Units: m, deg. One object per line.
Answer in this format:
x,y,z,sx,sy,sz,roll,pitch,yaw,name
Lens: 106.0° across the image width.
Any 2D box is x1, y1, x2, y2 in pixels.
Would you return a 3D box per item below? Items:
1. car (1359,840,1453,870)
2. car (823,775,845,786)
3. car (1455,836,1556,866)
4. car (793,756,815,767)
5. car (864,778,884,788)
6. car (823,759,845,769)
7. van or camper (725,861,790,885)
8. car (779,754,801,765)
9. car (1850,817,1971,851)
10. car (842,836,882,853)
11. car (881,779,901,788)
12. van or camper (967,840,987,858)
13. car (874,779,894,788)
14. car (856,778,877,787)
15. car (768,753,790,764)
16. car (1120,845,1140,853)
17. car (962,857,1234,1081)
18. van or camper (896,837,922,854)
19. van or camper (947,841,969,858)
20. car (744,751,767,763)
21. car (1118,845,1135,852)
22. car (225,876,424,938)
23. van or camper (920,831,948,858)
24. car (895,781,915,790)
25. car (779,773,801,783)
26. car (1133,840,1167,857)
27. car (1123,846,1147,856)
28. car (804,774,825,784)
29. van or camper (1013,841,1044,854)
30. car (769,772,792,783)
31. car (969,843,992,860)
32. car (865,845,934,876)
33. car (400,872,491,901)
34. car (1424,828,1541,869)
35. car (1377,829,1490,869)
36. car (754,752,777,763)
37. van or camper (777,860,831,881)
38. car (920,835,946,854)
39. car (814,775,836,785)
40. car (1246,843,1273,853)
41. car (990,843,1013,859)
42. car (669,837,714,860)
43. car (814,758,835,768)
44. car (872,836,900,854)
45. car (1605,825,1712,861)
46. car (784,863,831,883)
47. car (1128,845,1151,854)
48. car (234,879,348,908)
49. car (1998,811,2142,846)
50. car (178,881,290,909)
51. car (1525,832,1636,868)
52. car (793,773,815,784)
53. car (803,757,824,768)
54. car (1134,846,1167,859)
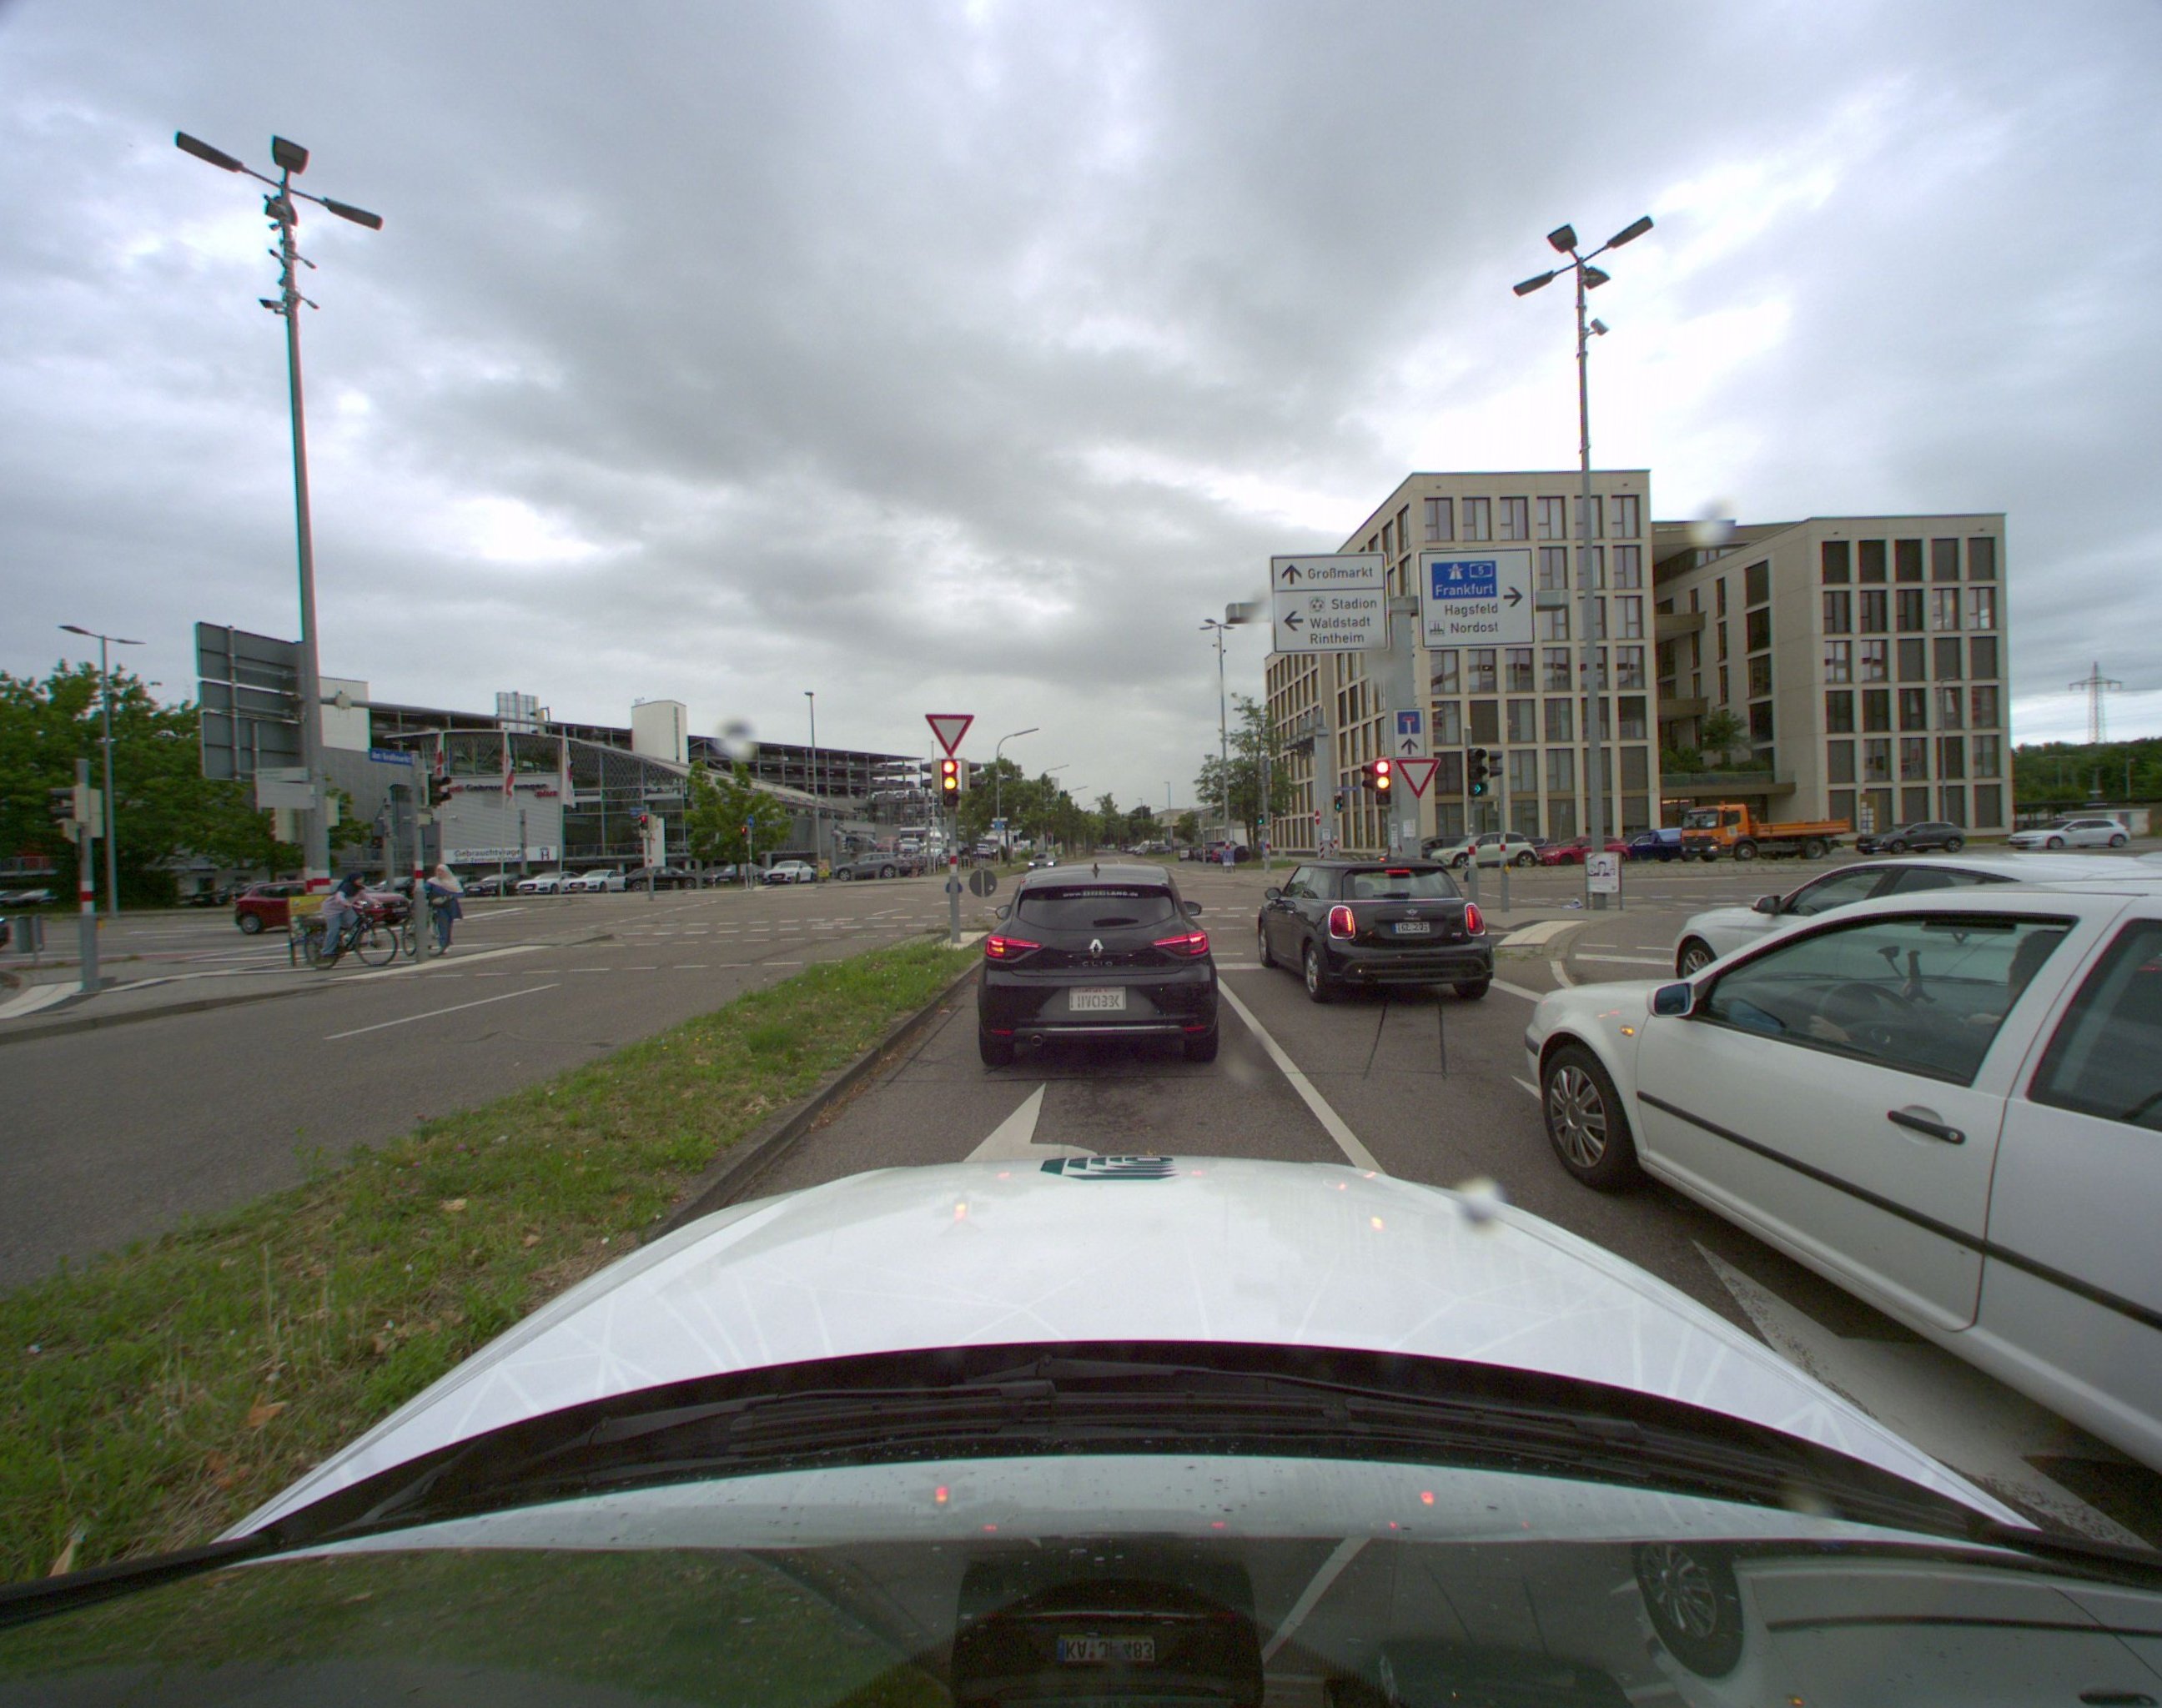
16.327,0.050,41.013,4.074,1.432,1.750,0,-1,-3,car
-49.792,-14.800,164.104,3.948,1.667,2.013,-1,0,33,car
21.383,-0.144,41.117,4.126,1.490,1.870,0,-1,-3,car
-53.854,-18.002,158.141,3.948,1.667,2.013,-1,0,33,car
-43.970,-15.096,173.262,3.948,1.667,2.013,-1,0,33,car
-49.803,-18.161,164.186,3.948,1.667,2.013,-1,0,33,car
-23.438,1.376,59.119,3.977,1.677,1.998,0,-1,-3,van or camper
-55.633,-17.988,155.540,3.948,1.667,2.013,-1,0,33,car
42.522,-0.987,41.830,4.089,1.657,2.002,0,-1,3,car
-24.502,-1.094,91.000,3.975,1.838,1.759,0,-1,-1,car
-41.434,-15.298,177.686,3.948,1.667,2.013,-1,0,33,car
-12.146,-0.522,95.346,1.988,2.014,3.997,0,-1,-2,van or camper
-42.608,-15.224,175.755,3.948,1.667,2.013,-1,0,33,car
-45.175,-15.020,171.328,3.948,1.667,2.013,-1,0,33,car
-56.980,-17.992,153.703,3.948,1.667,2.013,-1,0,33,car
13.112,-1.430,218.206,5.156,2.014,2.144,0,-1,0,car
0.169,0.761,7.275,1.750,1.434,4.001,0,-1,2,car
-17.674,-0.821,83.930,1.988,1.651,3.997,0,-1,-2,van or camper
-14.344,-0.507,95.207,1.988,2.014,3.997,0,-1,-2,van or camper
-59.714,-17.754,149.320,3.948,1.667,2.013,-1,0,33,car
12.904,-1.642,229.872,4.771,1.891,2.143,0,-1,-1,car
-22.375,1.539,24.210,4.058,1.487,1.738,-3,0,-5,car
-17.191,-1.031,95.288,2.529,3.026,4.840,0,-1,-2,van or camper
-39.160,-15.244,180.985,3.948,1.667,2.013,-1,0,33,car
-55.747,-14.557,155.836,3.948,1.667,2.013,-1,0,33,car
12.754,-1.086,151.513,6.096,3.116,2.134,0,-1,0,car
12.074,-0.646,182.137,5.156,2.014,2.144,0,-1,0,car
-52.418,-14.731,160.116,3.948,1.667,2.013,-1,0,33,car
-9.719,-1.196,150.750,5.580,2.372,2.000,0,-1,0,van or camper
-56.715,-14.432,153.776,3.948,1.667,2.013,-1,0,33,car
-10.339,-0.228,83.841,1.988,1.618,3.997,0,-1,-2,car
-13.768,0.478,62.156,4.765,2.013,1.997,-4,0,-5,car
-35.553,1.834,45.719,1.897,1.486,4.186,-2,-2,-2,car
16.913,-0.229,34.442,4.047,1.643,1.903,0,-1,-4,car
16.263,-0.217,37.729,4.396,1.769,1.998,0,-1,-3,car
-58.669,-17.897,151.346,3.948,1.667,2.013,-1,0,33,car
-23.796,1.401,70.019,3.977,1.711,1.846,0,-1,-2,van or camper
-15.213,-0.950,83.999,1.988,1.823,3.997,0,-1,-2,car
-51.033,-14.779,162.280,3.948,1.667,2.013,-1,0,33,car
24.258,-0.851,110.539,3.238,1.332,1.477,0,-1,-17,car
-8.278,-0.281,85.162,1.987,1.618,3.999,0,-1,0,car
-30.528,-0.404,63.946,1.815,1.662,3.996,0,-1,-3,car
-51.154,-18.173,162.393,3.948,1.667,2.013,-1,0,33,car
-20.111,-0.917,84.228,1.988,1.849,3.997,0,-1,-2,car
29.467,-0.532,41.640,4.126,1.769,1.998,0,-1,-3,car
-26.115,1.798,77.888,3.979,1.838,1.757,0,-1,-4,car
12.539,-1.001,175.527,4.771,1.891,2.143,0,-1,-1,car
-43.826,2.167,45.347,1.837,1.472,4.660,-1,-2,-2,car
49.512,-1.253,40.864,4.319,1.657,2.006,-1,-1,10,car
-46.632,2.244,45.002,1.845,1.421,4.214,-2,-2,-2,car
23.234,-0.162,37.965,3.976,1.601,1.999,0,-1,-2,car
-53.834,-14.671,158.022,3.948,1.667,2.013,-1,0,33,car
-52.625,-17.996,160.125,3.948,1.667,2.013,-1,0,33,car
10.968,-0.156,128.923,5.158,2.014,2.143,0,-1,-1,car
